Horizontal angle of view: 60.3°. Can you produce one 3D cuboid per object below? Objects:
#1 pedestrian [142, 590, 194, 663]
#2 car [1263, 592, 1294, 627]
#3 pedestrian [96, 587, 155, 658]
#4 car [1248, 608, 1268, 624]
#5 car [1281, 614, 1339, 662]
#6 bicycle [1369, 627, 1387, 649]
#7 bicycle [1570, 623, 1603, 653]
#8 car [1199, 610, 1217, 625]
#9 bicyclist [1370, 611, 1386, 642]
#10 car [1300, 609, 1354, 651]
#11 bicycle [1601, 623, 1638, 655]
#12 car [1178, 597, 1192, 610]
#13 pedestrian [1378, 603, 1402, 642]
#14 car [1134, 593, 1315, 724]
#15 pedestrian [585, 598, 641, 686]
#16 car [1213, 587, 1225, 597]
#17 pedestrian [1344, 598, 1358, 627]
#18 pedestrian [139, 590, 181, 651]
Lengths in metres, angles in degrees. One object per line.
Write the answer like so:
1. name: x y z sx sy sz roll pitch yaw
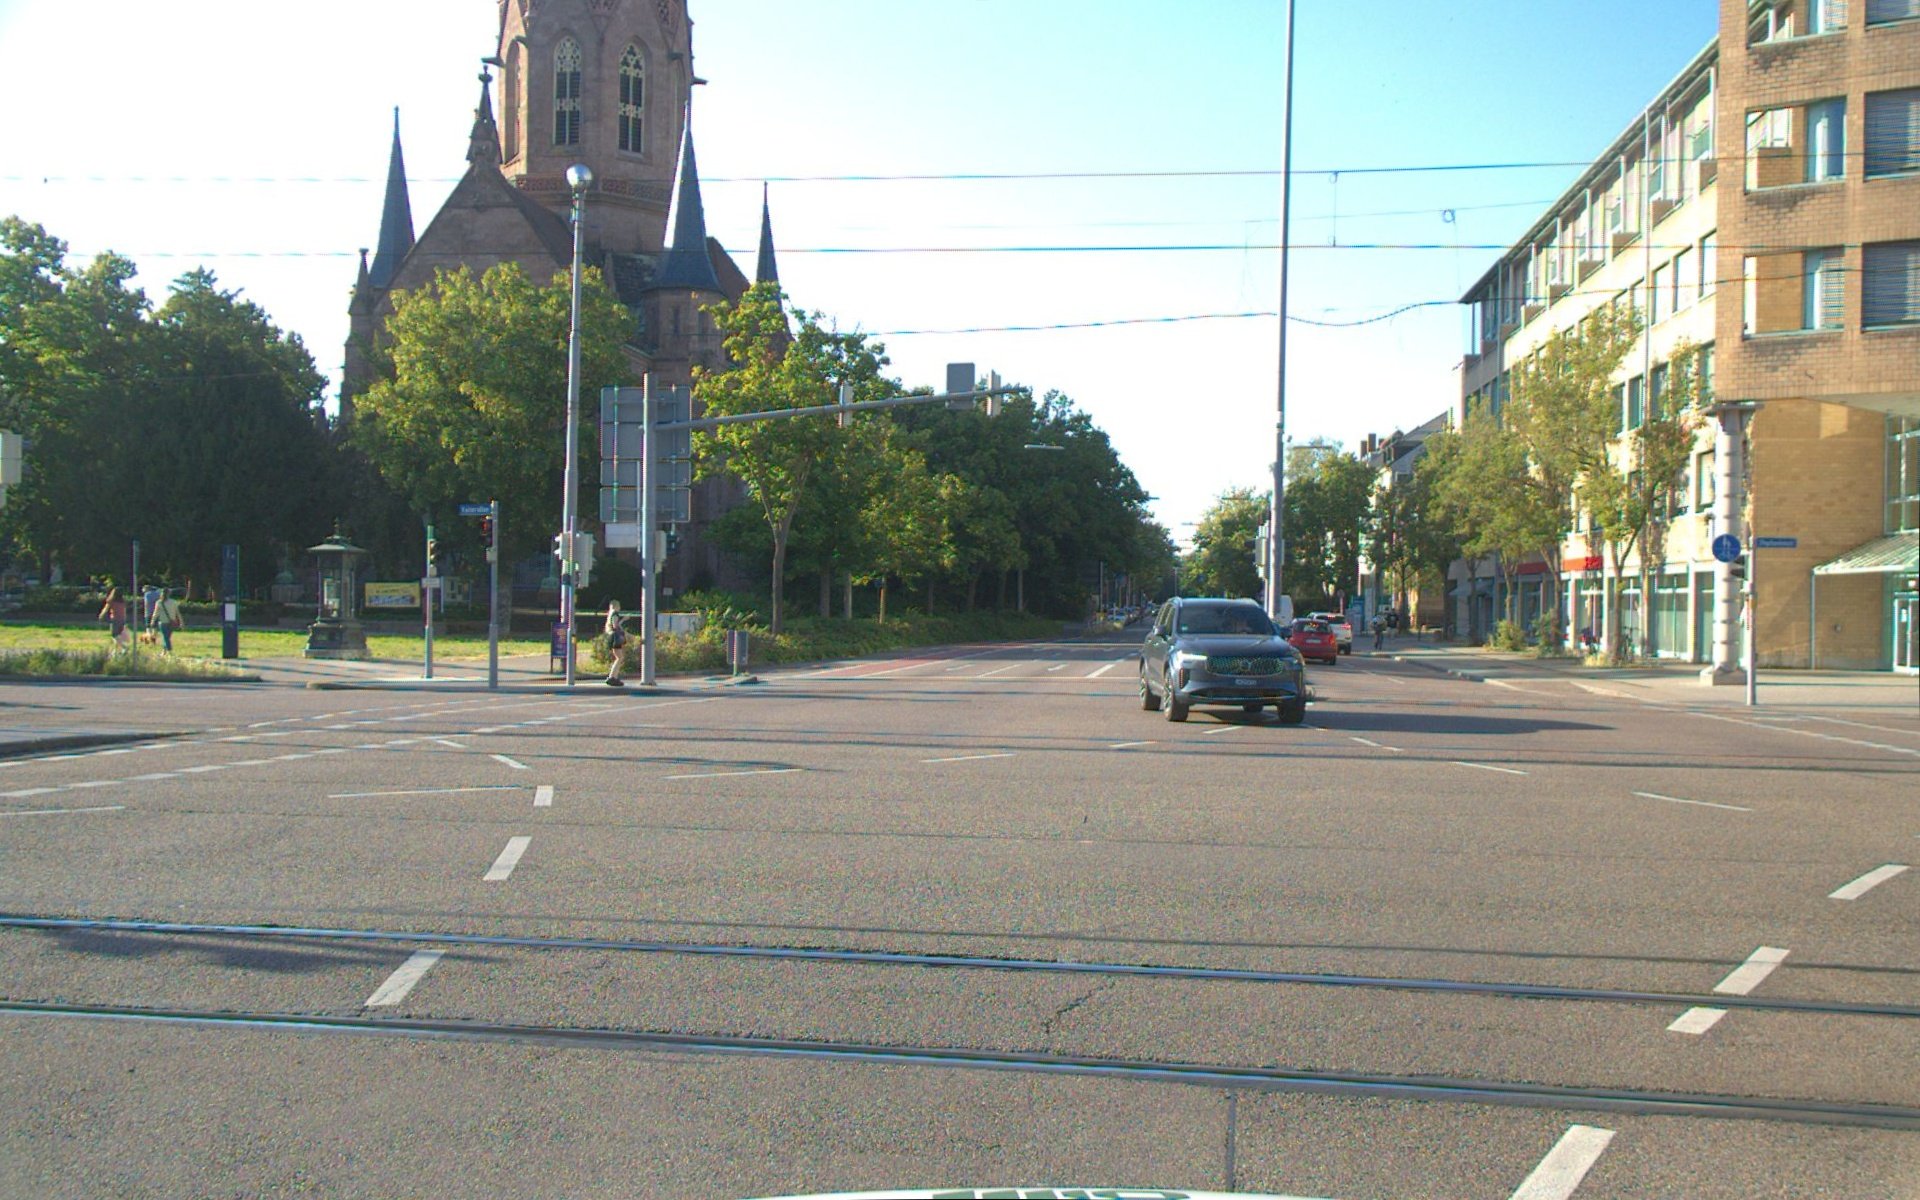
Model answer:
1. pedestrian: -19.062 0.631 39.816 0.876 1.726 0.709 2 0 28
2. car: 23.020 0.672 119.801 1.951 2.483 4.003 2 0 8
3. pedestrian: -20.694 0.552 41.026 0.994 1.726 0.843 2 0 28
4. car: 25.778 1.383 142.959 1.560 1.289 3.269 1 0 8
5. car: 11.904 1.273 56.439 1.634 1.488 4.003 2 0 8
6. bicycle: 19.470 1.768 77.126 0.579 0.959 1.980 2 1 8
7. bicycle: 22.540 1.360 59.570 0.632 1.012 2.082 1 0 7
8. car: 21.815 1.527 145.436 1.560 1.289 3.269 1 0 8
9. bicyclist: 19.486 1.226 77.103 0.579 1.392 0.930 2 1 8
10. car: 15.502 1.224 70.004 1.876 1.635 4.273 2 0 8
11. bicycle: 21.882 1.296 54.866 0.632 1.012 2.082 1 0 7
12. car: 30.770 0.448 226.398 1.846 1.700 4.003 2 0 8
13. pedestrian: 22.671 1.178 87.307 1.084 2.010 1.162 1 0 8
14. car: 3.854 0.825 24.938 1.952 1.754 5.031 1 -1 0
15. pedestrian: -7.144 0.852 34.078 0.792 1.769 0.969 1 0 9
16. car: 35.999 -1.142 229.800 1.560 1.289 3.269 1 0 8
17. pedestrian: 24.923 0.819 105.431 0.829 1.835 0.776 1 0 8
18. pedestrian: -22.996 0.587 47.534 1.002 1.726 0.837 2 0 -28
